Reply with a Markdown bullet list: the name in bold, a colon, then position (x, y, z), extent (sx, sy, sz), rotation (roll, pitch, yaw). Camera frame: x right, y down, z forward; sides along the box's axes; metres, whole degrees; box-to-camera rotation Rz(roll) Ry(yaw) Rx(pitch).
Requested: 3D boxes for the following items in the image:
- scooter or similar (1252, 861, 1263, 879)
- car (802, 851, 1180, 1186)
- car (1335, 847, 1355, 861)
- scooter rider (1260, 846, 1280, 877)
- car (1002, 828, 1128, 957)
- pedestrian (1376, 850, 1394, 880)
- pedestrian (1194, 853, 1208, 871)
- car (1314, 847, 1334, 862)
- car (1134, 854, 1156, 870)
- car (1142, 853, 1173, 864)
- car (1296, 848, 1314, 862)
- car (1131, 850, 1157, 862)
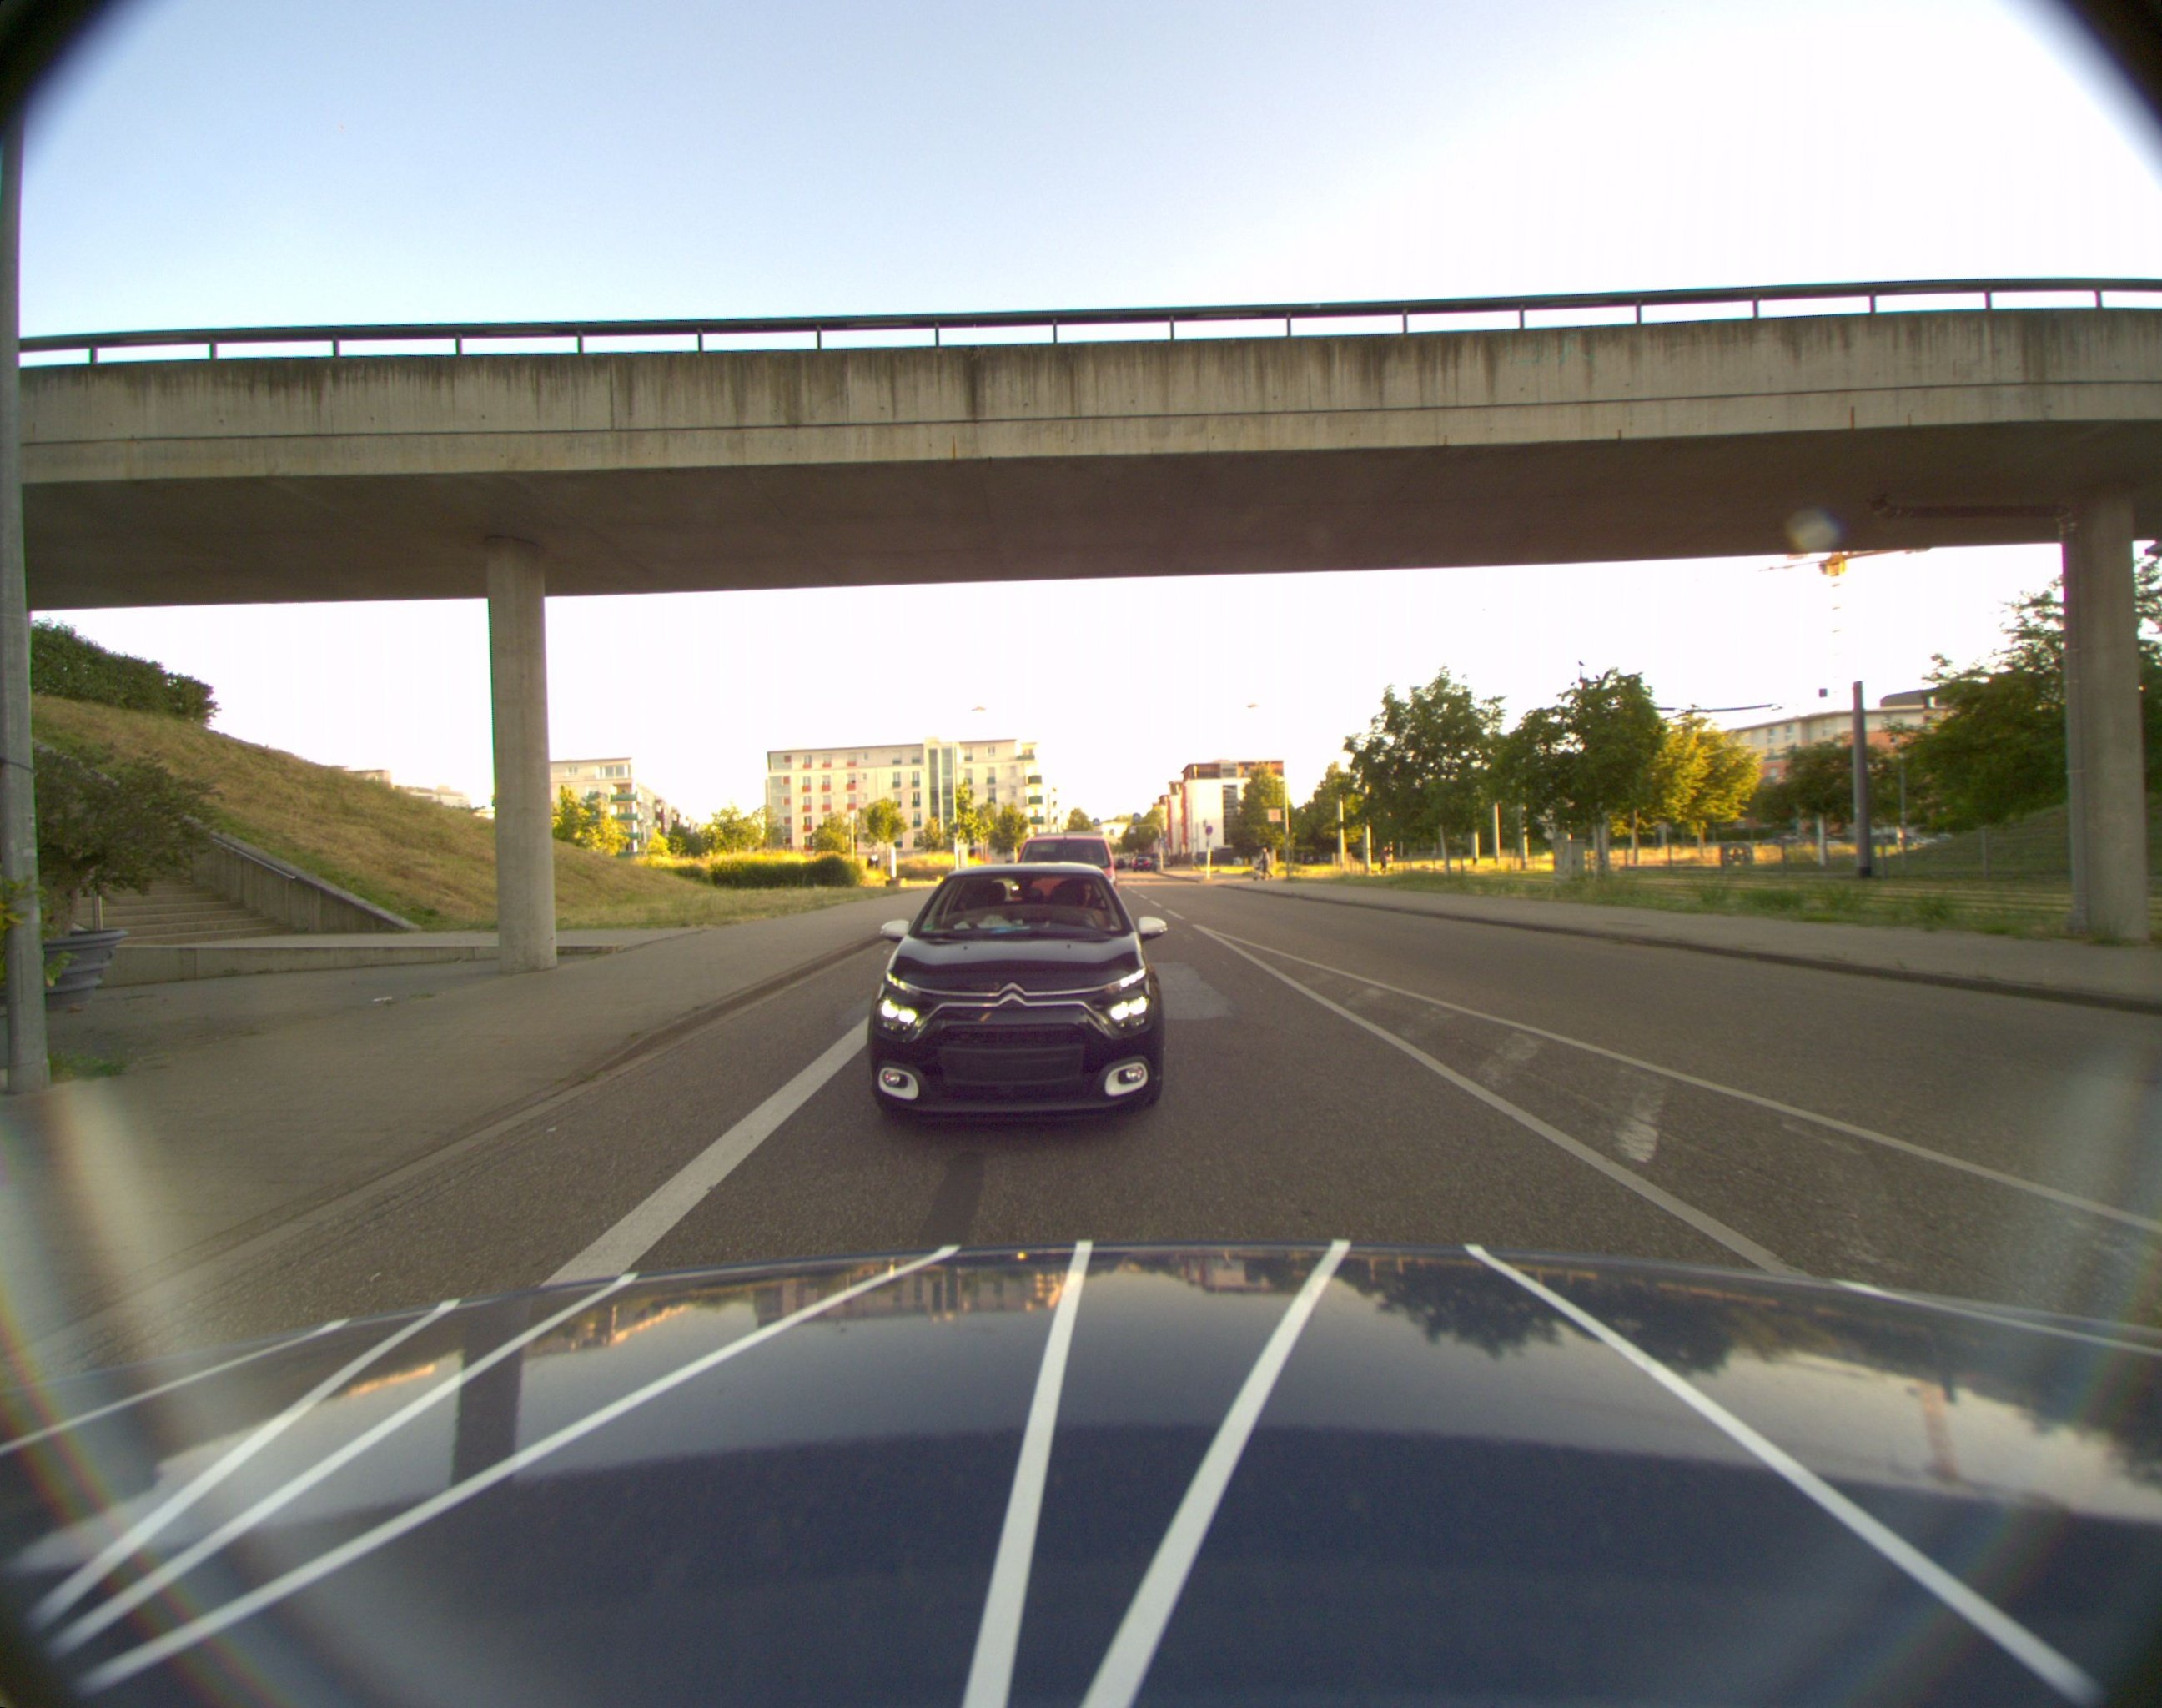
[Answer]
- **scooter or similar**: position (9.366, 0.838, 40.295), extent (0.552, 0.890, 0.723), rotation (-1, 1, 10)
- **car**: position (-0.478, 0.797, 5.692), extent (1.760, 1.543, 4.071), rotation (-2, 0, -2)
- **car**: position (33.492, -0.043, 96.577), extent (1.869, 1.710, 3.848), rotation (-2, 0, 12)
- **scooter rider**: position (9.990, 0.405, 40.188), extent (0.897, 1.568, 0.712), rotation (-2, 0, 9)
- **car**: position (-0.275, 0.629, 14.660), extent (1.931, 1.979, 4.822), rotation (-3, 0, -1)
- **pedestrian**: position (16.291, 0.596, 40.676), extent (0.779, 1.602, 0.417), rotation (-2, 0, 12)
- **pedestrian**: position (13.703, 0.910, 86.688), extent (1.088, 2.002, 1.141), rotation (-2, 1, 29)
- **car**: position (30.981, 0.051, 96.851), extent (1.869, 1.710, 3.848), rotation (-2, 0, 9)
- **car**: position (7.100, 0.863, 83.677), extent (1.997, 1.554, 4.003), rotation (-2, 0, 9)
- **car**: position (11.449, 0.667, 113.991), extent (4.387, 1.550, 1.839), rotation (-2, 1, 2)
- **car**: position (28.673, 0.142, 97.204), extent (1.869, 1.710, 3.848), rotation (-2, 0, 12)
- **car**: position (11.982, 0.377, 144.168), extent (4.745, 2.002, 1.999), rotation (-2, 1, -2)
